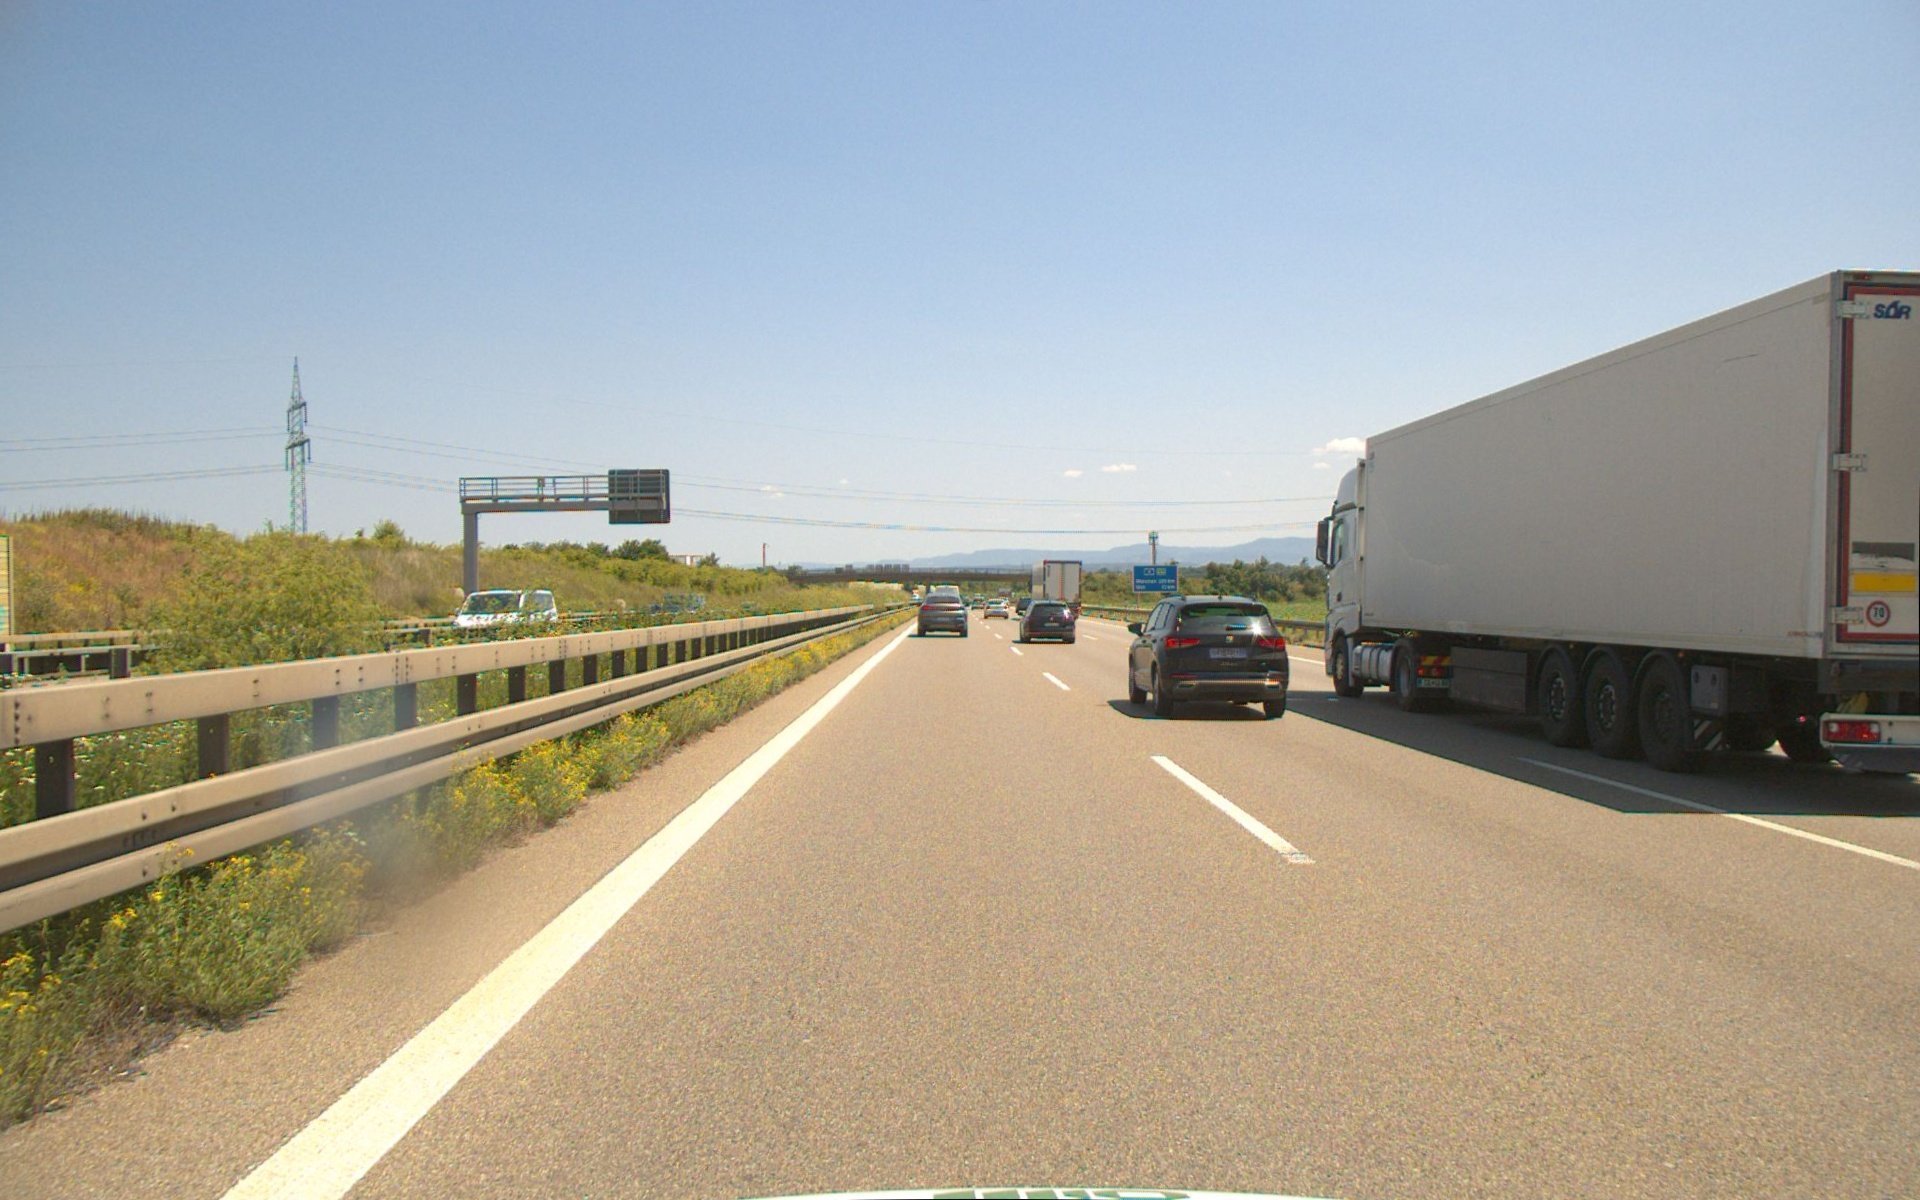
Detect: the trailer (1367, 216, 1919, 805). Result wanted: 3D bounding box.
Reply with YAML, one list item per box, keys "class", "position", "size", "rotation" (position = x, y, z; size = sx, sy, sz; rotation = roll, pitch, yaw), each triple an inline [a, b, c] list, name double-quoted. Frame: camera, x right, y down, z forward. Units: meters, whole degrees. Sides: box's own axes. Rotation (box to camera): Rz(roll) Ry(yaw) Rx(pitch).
- class: "trailer"
  position: [7.769, -0.590, 18.763]
  size: [2.809, 4.294, 13.291]
  rotation: [1, 0, -1]

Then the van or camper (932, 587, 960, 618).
- class: "van or camper"
  position: [-1.040, 0.203, 125.161]
  size: [2.067, 2.250, 5.265]
  rotation: [1, 0, 0]

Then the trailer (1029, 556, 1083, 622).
- class: "trailer"
  position: [6.641, -0.684, 116.367]
  size: [2.883, 4.271, 13.595]
  rotation: [1, 0, 0]

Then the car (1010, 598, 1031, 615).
- class: "car"
  position: [6.329, 0.681, 173.026]
  size: [1.953, 1.712, 4.000]
  rotation: [1, 0, 0]

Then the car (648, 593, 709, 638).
- class: "car"
  position: [-13.596, 0.745, 80.260]
  size: [1.953, 1.974, 5.854]
  rotation: [-3, 0, -1]

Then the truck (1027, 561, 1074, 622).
- class: "truck"
  position: [6.645, -0.582, 122.577]
  size: [2.918, 4.302, 7.686]
  rotation: [1, 0, 0]

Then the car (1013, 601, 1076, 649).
- class: "car"
  position: [2.935, 0.855, 58.255]
  size: [1.894, 1.602, 4.933]
  rotation: [1, 0, -1]

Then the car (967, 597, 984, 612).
- class: "car"
  position: [1.930, 0.580, 207.206]
  size: [1.953, 1.712, 4.000]
  rotation: [1, 0, 0]

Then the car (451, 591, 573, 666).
- class: "car"
  position: [-12.871, 0.804, 47.954]
  size: [1.953, 1.996, 5.912]
  rotation: [1, 0, -1]

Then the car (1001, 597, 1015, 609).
- class: "car"
  position: [6.890, 0.476, 238.069]
  size: [1.953, 1.712, 4.000]
  rotation: [1, 0, 0]

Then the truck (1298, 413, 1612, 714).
- class: "truck"
  position: [7.643, -0.490, 26.607]
  size: [2.804, 4.163, 6.877]
  rotation: [1, 0, -1]

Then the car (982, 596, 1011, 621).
- class: "car"
  position: [2.666, 0.634, 120.931]
  size: [1.953, 1.712, 4.000]
  rotation: [1, 0, 0]

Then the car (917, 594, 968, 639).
- class: "car"
  position: [-0.724, 0.633, 64.766]
  size: [1.814, 1.693, 3.732]
  rotation: [1, 0, -3]

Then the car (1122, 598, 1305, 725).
- class: "car"
  position: [3.434, 0.795, 23.086]
  size: [1.761, 1.589, 3.821]
  rotation: [1, 0, -3]
